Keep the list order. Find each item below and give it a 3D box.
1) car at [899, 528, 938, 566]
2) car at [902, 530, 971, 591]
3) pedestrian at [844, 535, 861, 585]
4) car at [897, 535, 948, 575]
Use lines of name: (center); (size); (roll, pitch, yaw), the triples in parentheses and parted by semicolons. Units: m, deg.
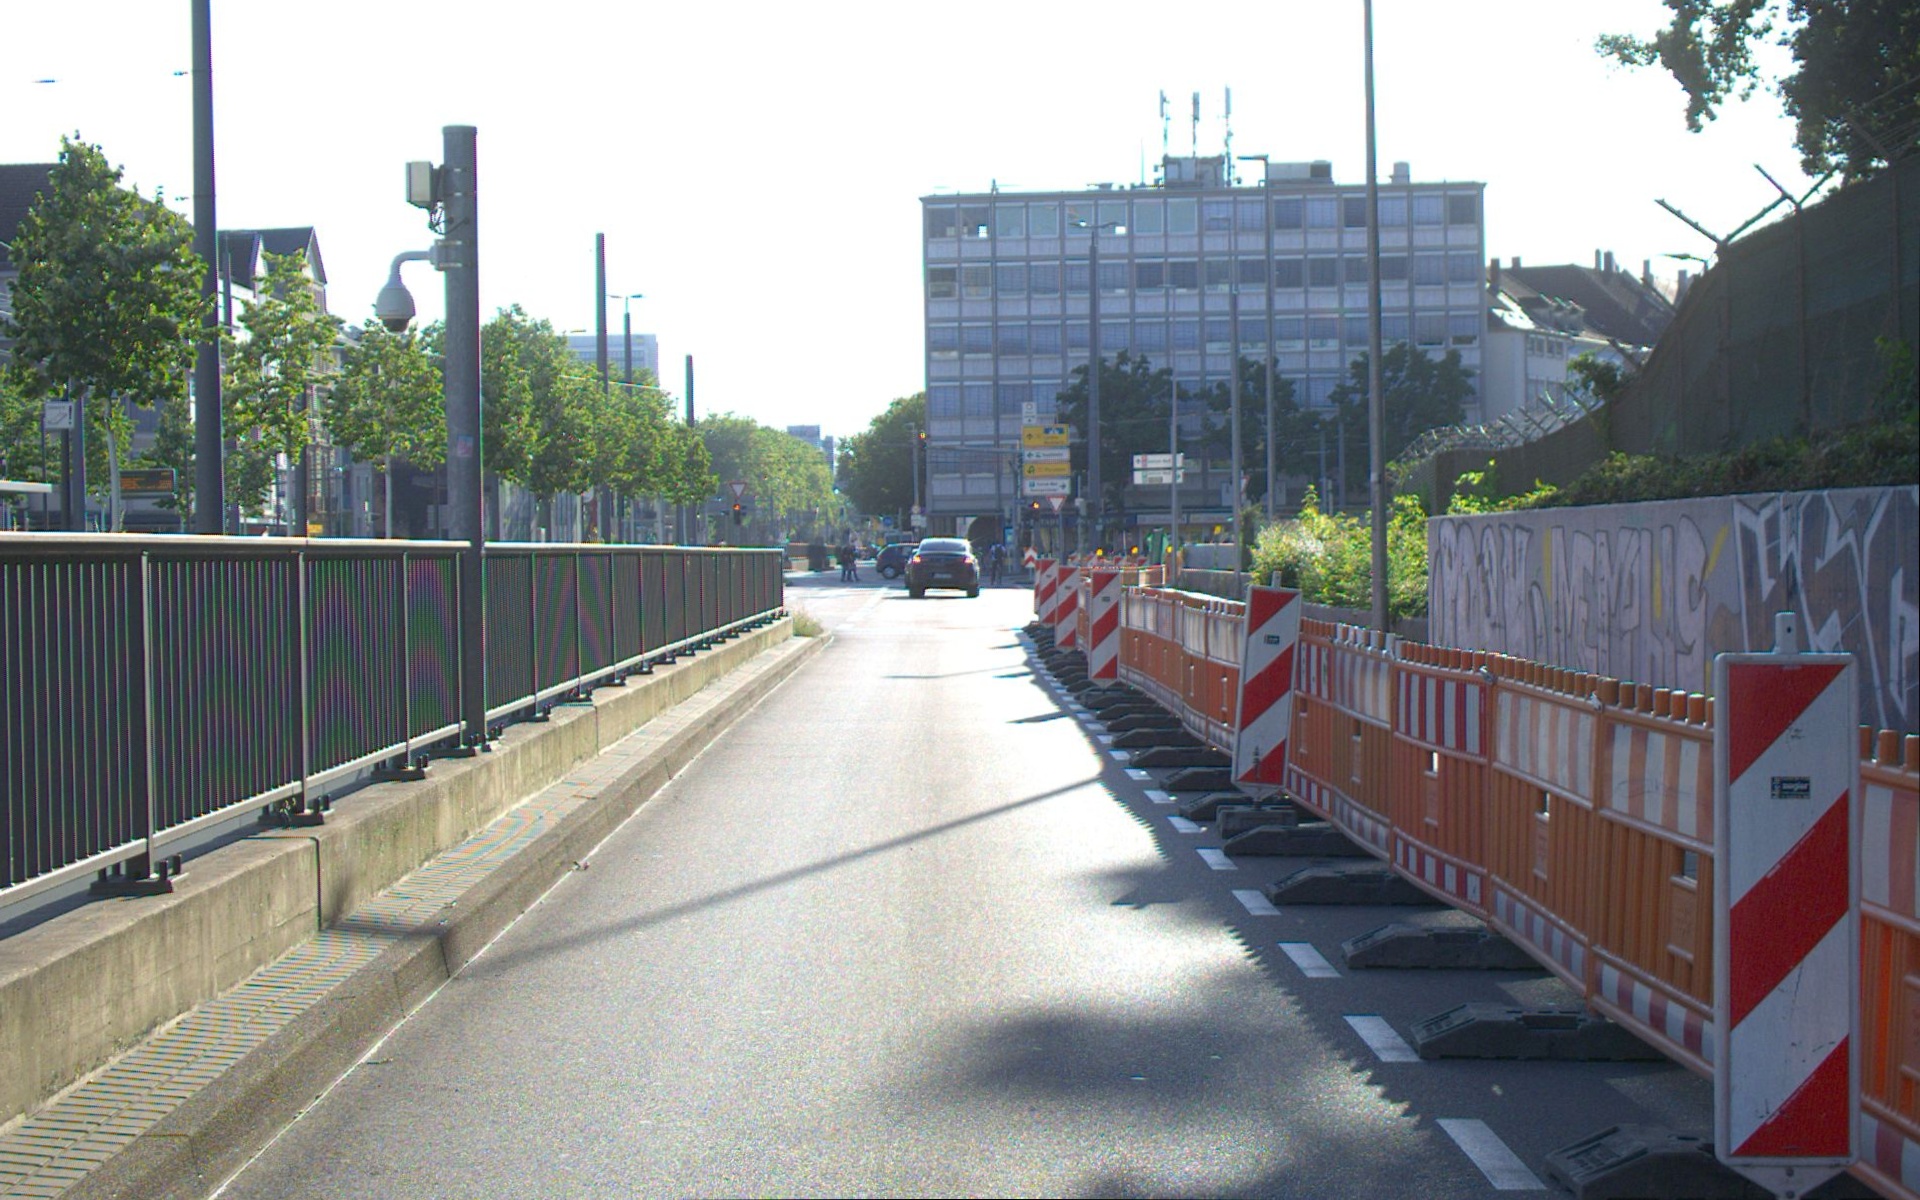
car: (-2.784, -3.527, 228.441); (2.486, 2.384, 5.935); (-2, 1, -1)
car: (-0.707, -1.179, 102.199); (1.993, 1.687, 4.001); (1, 2, -1)
pedestrian: (-4.330, -1.594, 138.251); (0.613, 2.007, 0.511); (0, 1, 3)
car: (-1.345, -1.633, 124.385); (1.743, 1.421, 4.000); (0, 1, 1)
